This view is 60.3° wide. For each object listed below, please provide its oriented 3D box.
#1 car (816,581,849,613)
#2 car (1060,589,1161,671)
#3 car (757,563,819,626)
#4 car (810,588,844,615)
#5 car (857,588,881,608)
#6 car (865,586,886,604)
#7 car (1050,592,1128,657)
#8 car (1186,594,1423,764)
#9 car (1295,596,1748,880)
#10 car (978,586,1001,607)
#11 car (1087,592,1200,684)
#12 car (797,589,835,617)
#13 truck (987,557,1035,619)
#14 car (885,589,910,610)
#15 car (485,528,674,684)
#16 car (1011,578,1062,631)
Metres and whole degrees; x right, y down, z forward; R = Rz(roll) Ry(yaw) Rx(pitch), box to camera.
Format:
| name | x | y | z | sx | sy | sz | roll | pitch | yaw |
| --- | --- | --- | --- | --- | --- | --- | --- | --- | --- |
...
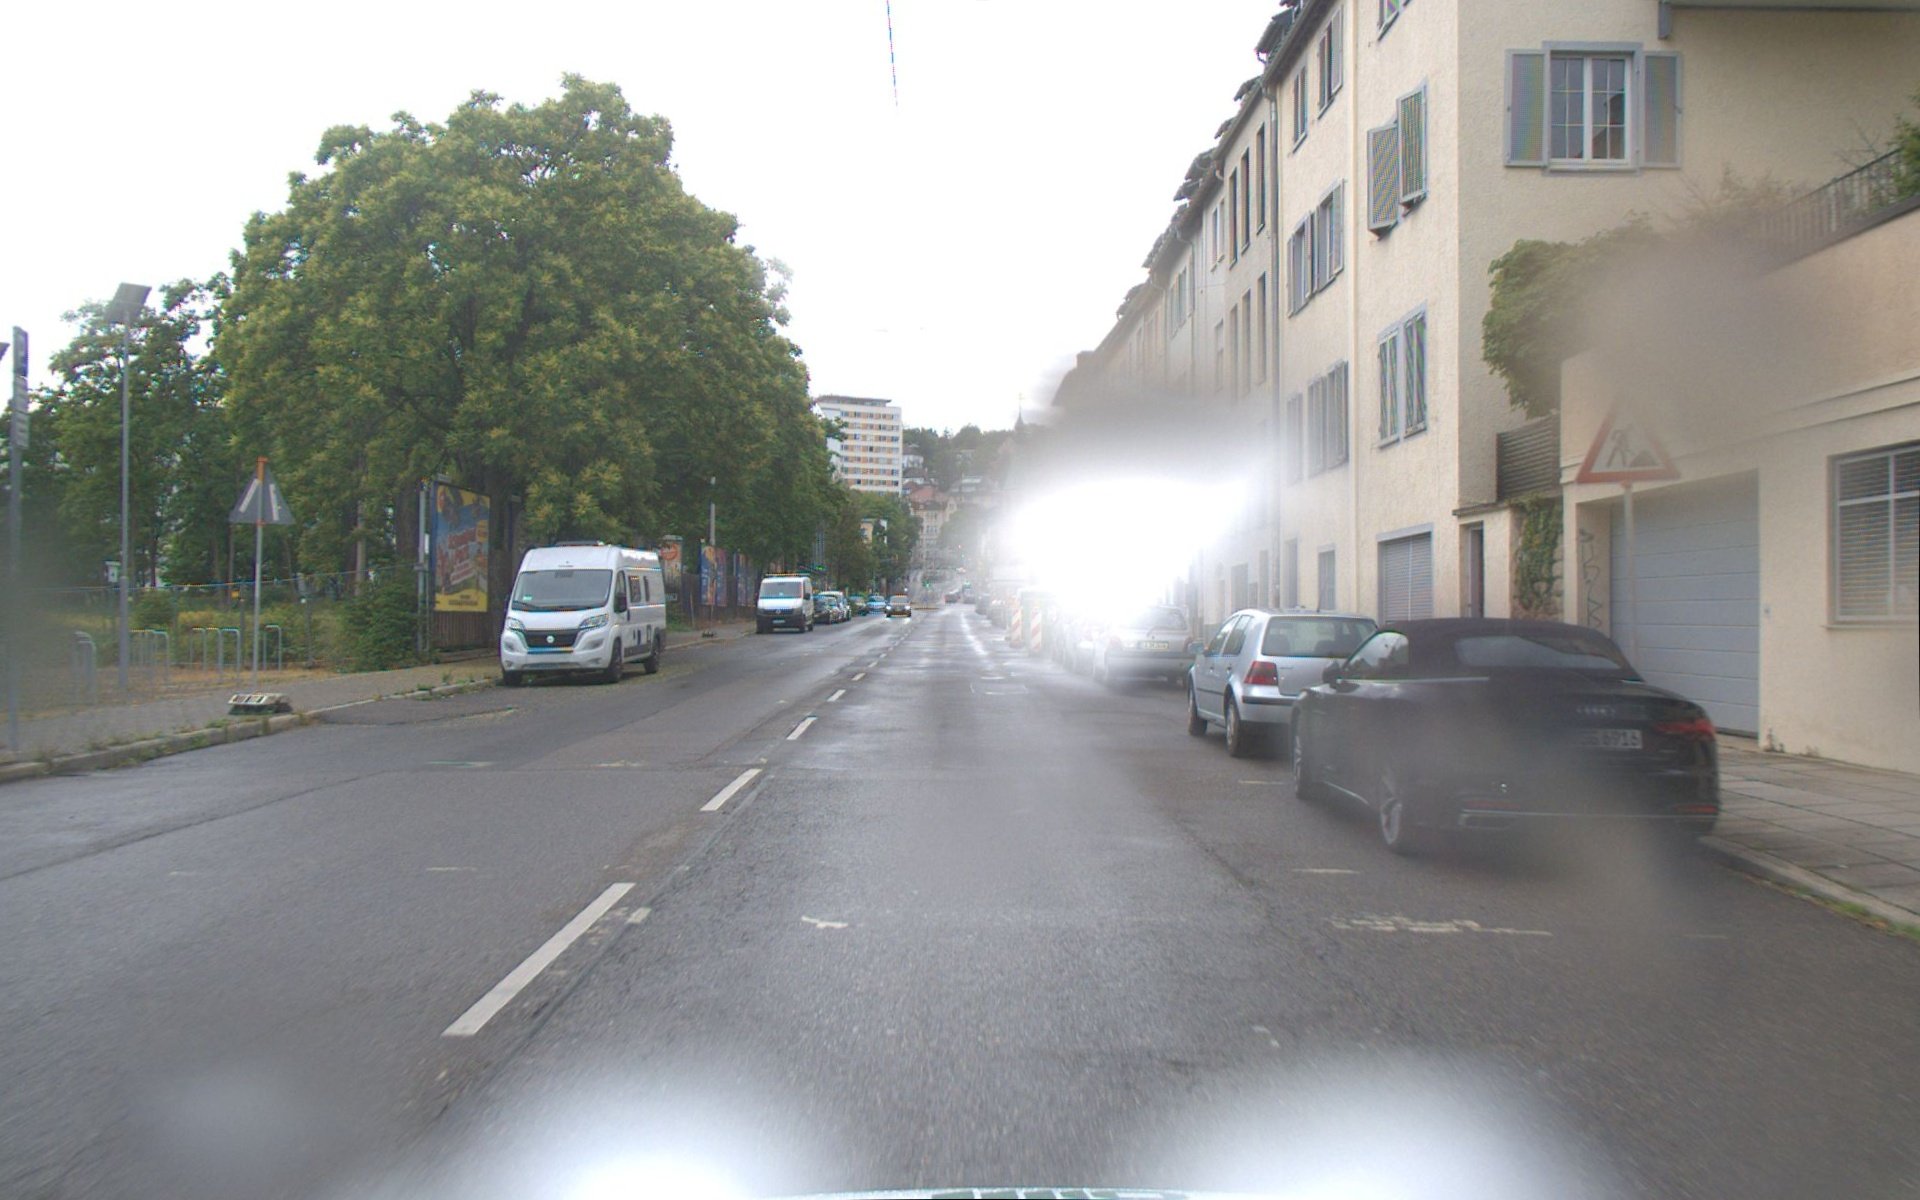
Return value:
| name | x | y | z | sx | sy | sz | roll | pitch | yaw |
| --- | --- | --- | --- | --- | --- | --- | --- | --- | --- |
| car | -7.562 | -0.191 | 98.131 | 1.688 | 1.831 | 4.343 | -1 | 0 | -1 |
| car | 3.147 | 0.595 | 35.207 | 1.681 | 1.551 | 3.999 | 2 | 1 | -1 |
| car | -7.275 | -0.280 | 70.593 | 1.970 | 2.530 | 5.983 | -1 | 1 | 0 |
| car | -7.425 | 0.082 | 92.862 | 1.648 | 1.488 | 4.276 | -1 | 0 | -1 |
| car | -6.973 | -0.169 | 126.776 | 1.767 | 1.476 | 4.655 | -1 | 0 | -3 |
| car | -7.227 | -0.393 | 142.058 | 1.675 | 1.476 | 4.293 | -1 | 0 | -1 |
| car | 3.131 | 0.559 | 40.816 | 1.593 | 1.435 | 3.842 | 2 | 1 | 0 |
| car | 3.453 | 0.729 | 17.217 | 1.596 | 1.479 | 3.759 | 2 | 1 | -1 |
| car | 3.416 | 0.741 | 10.805 | 1.596 | 1.479 | 3.758 | 1 | 0 | -1 |
| car | 2.436 | -0.305 | 136.563 | 1.780 | 1.681 | 4.075 | 2 | 0 | -1 |
| car | 3.269 | 0.632 | 30.023 | 1.527 | 1.479 | 3.759 | 1 | 1 | -1 |
| car | -7.426 | 0.156 | 85.529 | 1.648 | 1.423 | 3.909 | -1 | 0 | -1 |
| truck | 2.723 | -0.652 | 90.562 | 2.419 | 3.227 | 7.036 | 0 | 0 | 0 |
| car | -4.515 | -0.059 | 119.079 | 1.769 | 1.440 | 4.381 | 0 | 0 | -3 |
| car | -7.127 | 0.063 | 31.775 | 2.185 | 2.624 | 6.536 | -2 | 1 | -1 |
| car | 2.963 | 0.148 | 64.547 | 1.780 | 1.957 | 4.239 | -1 | 1 | 0 |
